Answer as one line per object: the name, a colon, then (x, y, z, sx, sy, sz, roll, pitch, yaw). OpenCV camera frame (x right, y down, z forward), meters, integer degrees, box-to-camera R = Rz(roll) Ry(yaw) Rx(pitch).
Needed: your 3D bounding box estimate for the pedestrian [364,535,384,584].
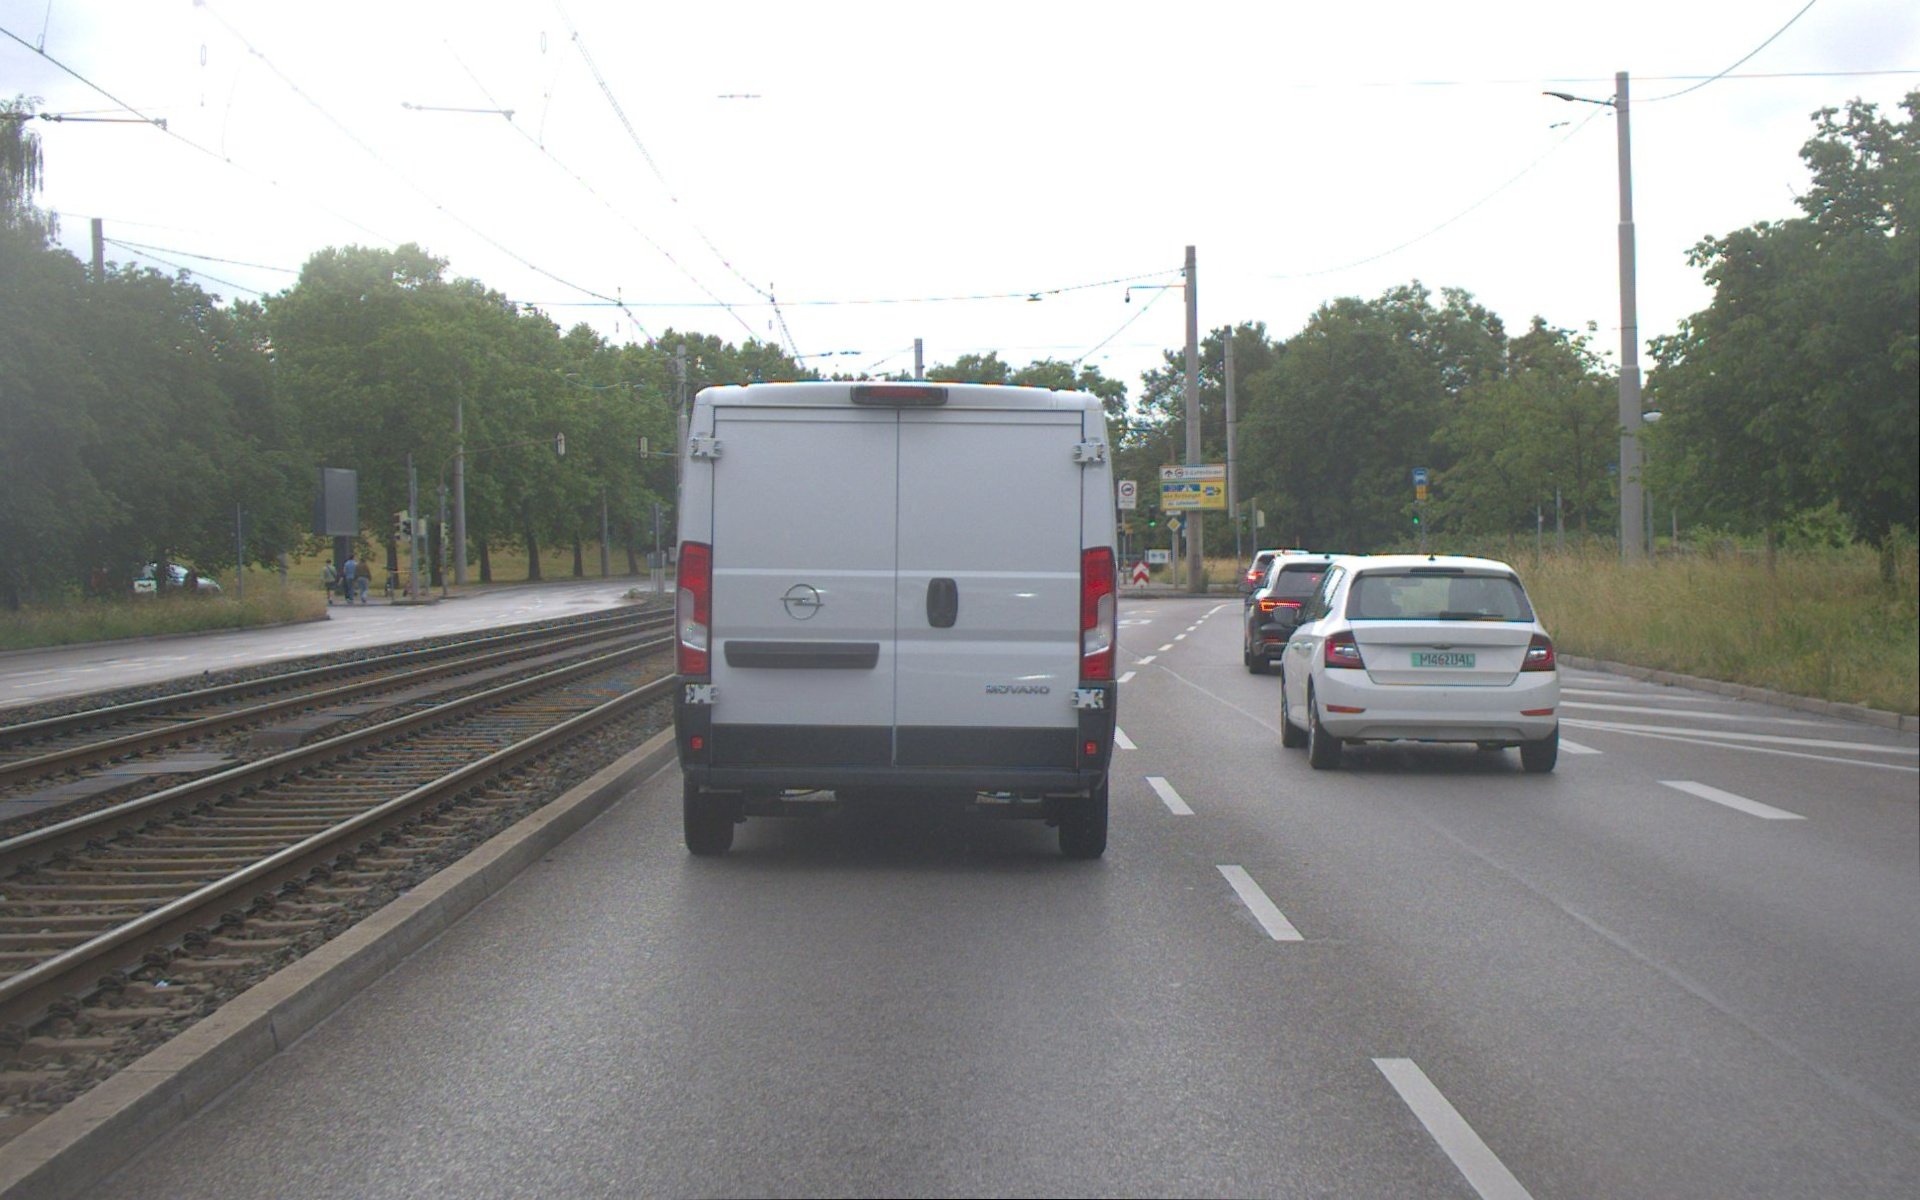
pedestrian: (-21.658, -1.495, 126.990, 0.506, 1.781, 0.832, 1, 1, 5)

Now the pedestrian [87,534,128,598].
pedestrian: (-27.229, -1.090, 109.788, 0.887, 2.007, 0.945, -1, 1, 16)

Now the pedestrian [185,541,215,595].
pedestrian: (-24.699, -1.043, 111.756, 0.725, 1.749, 0.877, 1, 1, 3)

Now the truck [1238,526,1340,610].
truck: (7.391, -0.744, 77.591, 1.993, 1.784, 4.414, -1, 1, 2)

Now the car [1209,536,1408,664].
car: (4.096, -0.023, 40.965, 1.789, 1.444, 4.000, 0, 1, -2)

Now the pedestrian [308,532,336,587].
pedestrian: (-23.848, -1.514, 128.487, 0.887, 2.007, 0.866, -1, 1, -4)

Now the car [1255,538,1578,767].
car: (3.140, 0.312, 24.310, 1.746, 1.452, 3.671, 1, 1, 0)

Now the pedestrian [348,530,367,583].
pedestrian: (-22.300, -1.602, 127.235, 0.496, 1.949, 0.722, 1, 1, 5)

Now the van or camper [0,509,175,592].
van or camper: (-32.309, -1.812, 126.164, 7.366, 2.957, 2.486, 0, 2, 35)

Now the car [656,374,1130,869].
car: (-0.354, 0.041, 17.920, 2.090, 2.189, 5.061, 1, 1, -1)
